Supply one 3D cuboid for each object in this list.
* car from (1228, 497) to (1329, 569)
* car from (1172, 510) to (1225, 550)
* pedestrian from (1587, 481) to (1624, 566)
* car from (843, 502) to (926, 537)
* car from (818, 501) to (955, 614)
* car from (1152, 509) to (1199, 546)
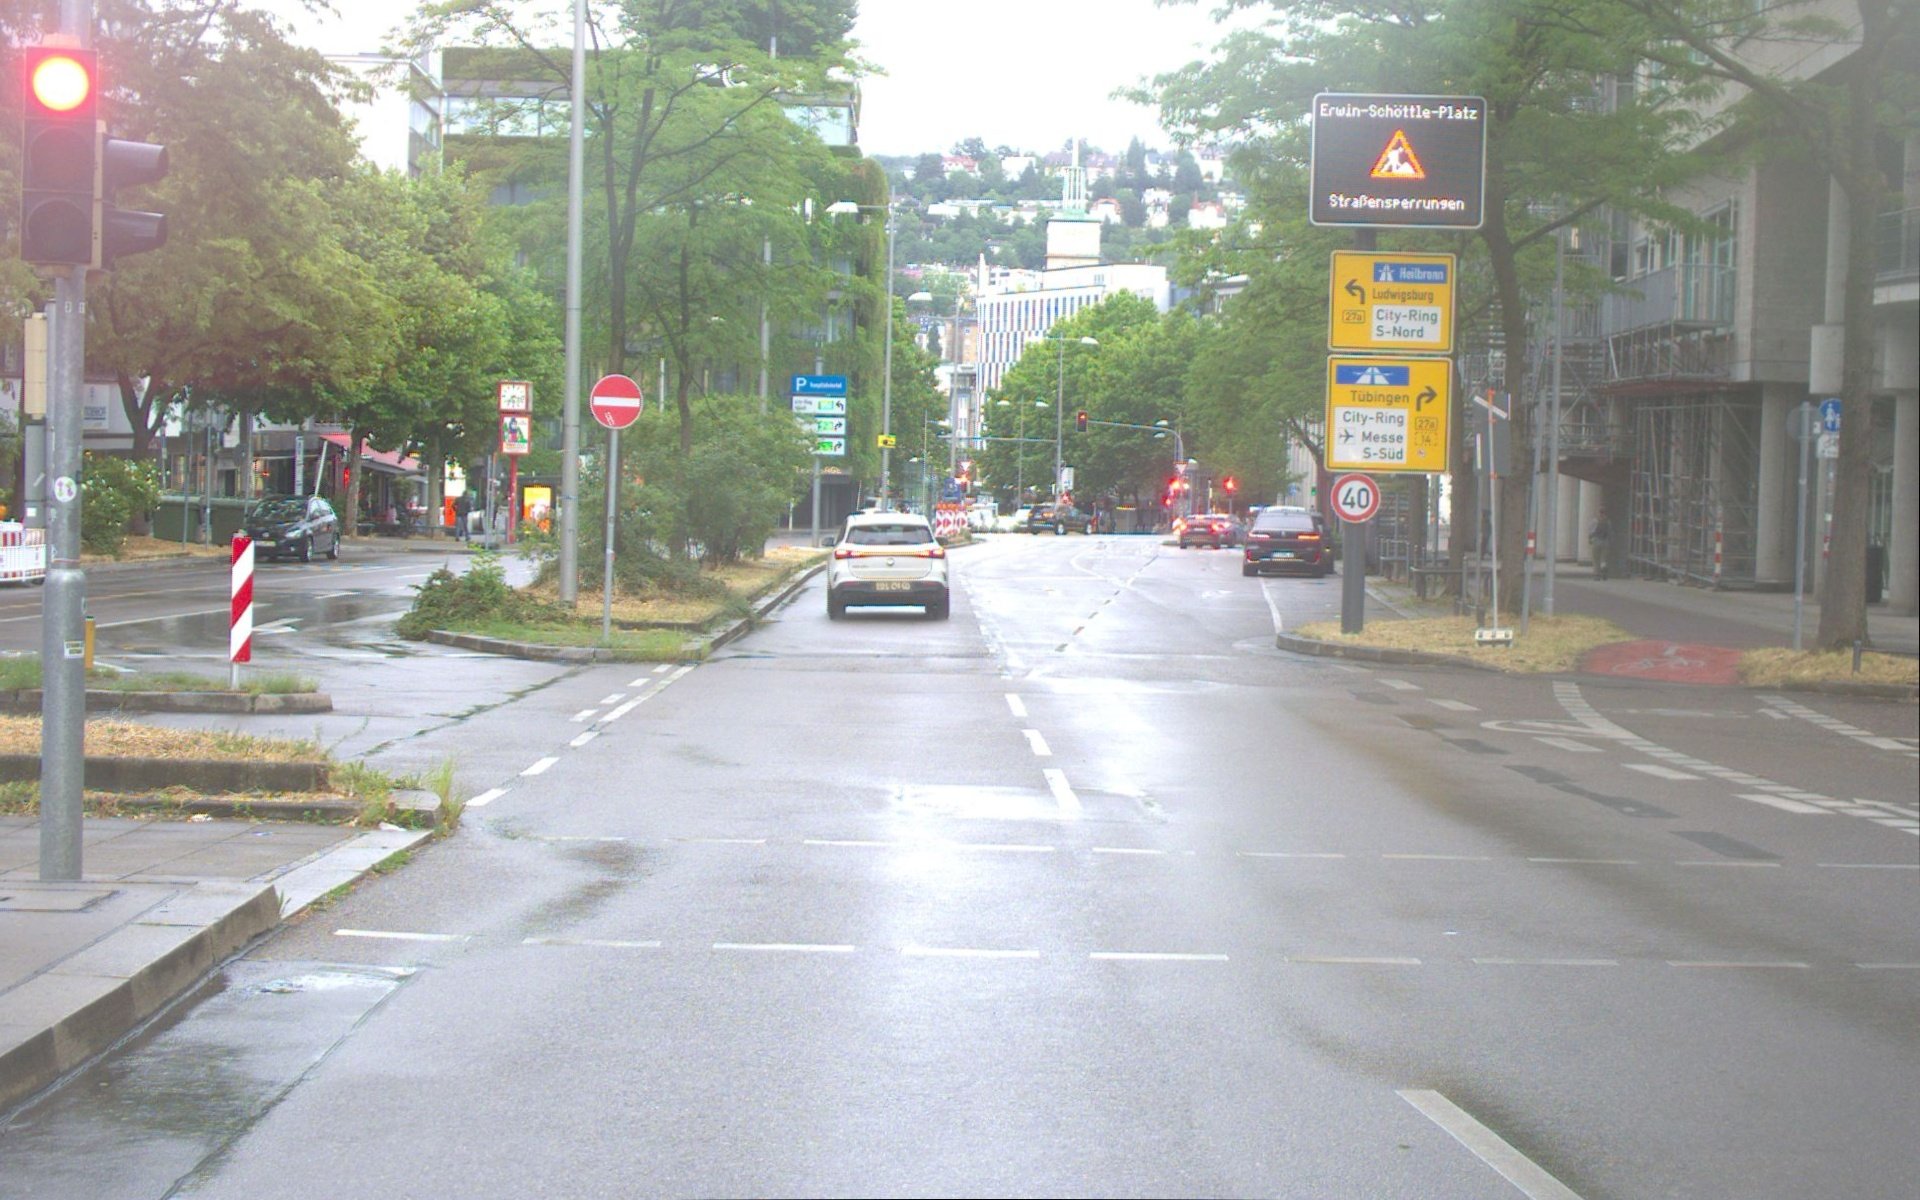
[{"bbox_3d":[7.756,-1.643,83.416,2.339,1.685,3.999,1,2,6],"label":"car"},{"bbox_3d":[10.727,-3.156,154.805,1.993,1.718,4.000,1,0,-1],"label":"car"},{"bbox_3d":[14.665,-1.729,78.100,0.775,1.914,0.702,1,0,10],"label":"pedestrian"},{"bbox_3d":[-4.127,-4.385,187.761,3.986,1.752,2.000,2,1,-27],"label":"car"},{"bbox_3d":[-1.193,-0.677,53.779,1.828,1.634,4.301,2,1,-5],"label":"car"},{"bbox_3d":[10.450,-3.493,166.792,1.993,1.730,4.000,1,0,-1],"label":"car"}]
